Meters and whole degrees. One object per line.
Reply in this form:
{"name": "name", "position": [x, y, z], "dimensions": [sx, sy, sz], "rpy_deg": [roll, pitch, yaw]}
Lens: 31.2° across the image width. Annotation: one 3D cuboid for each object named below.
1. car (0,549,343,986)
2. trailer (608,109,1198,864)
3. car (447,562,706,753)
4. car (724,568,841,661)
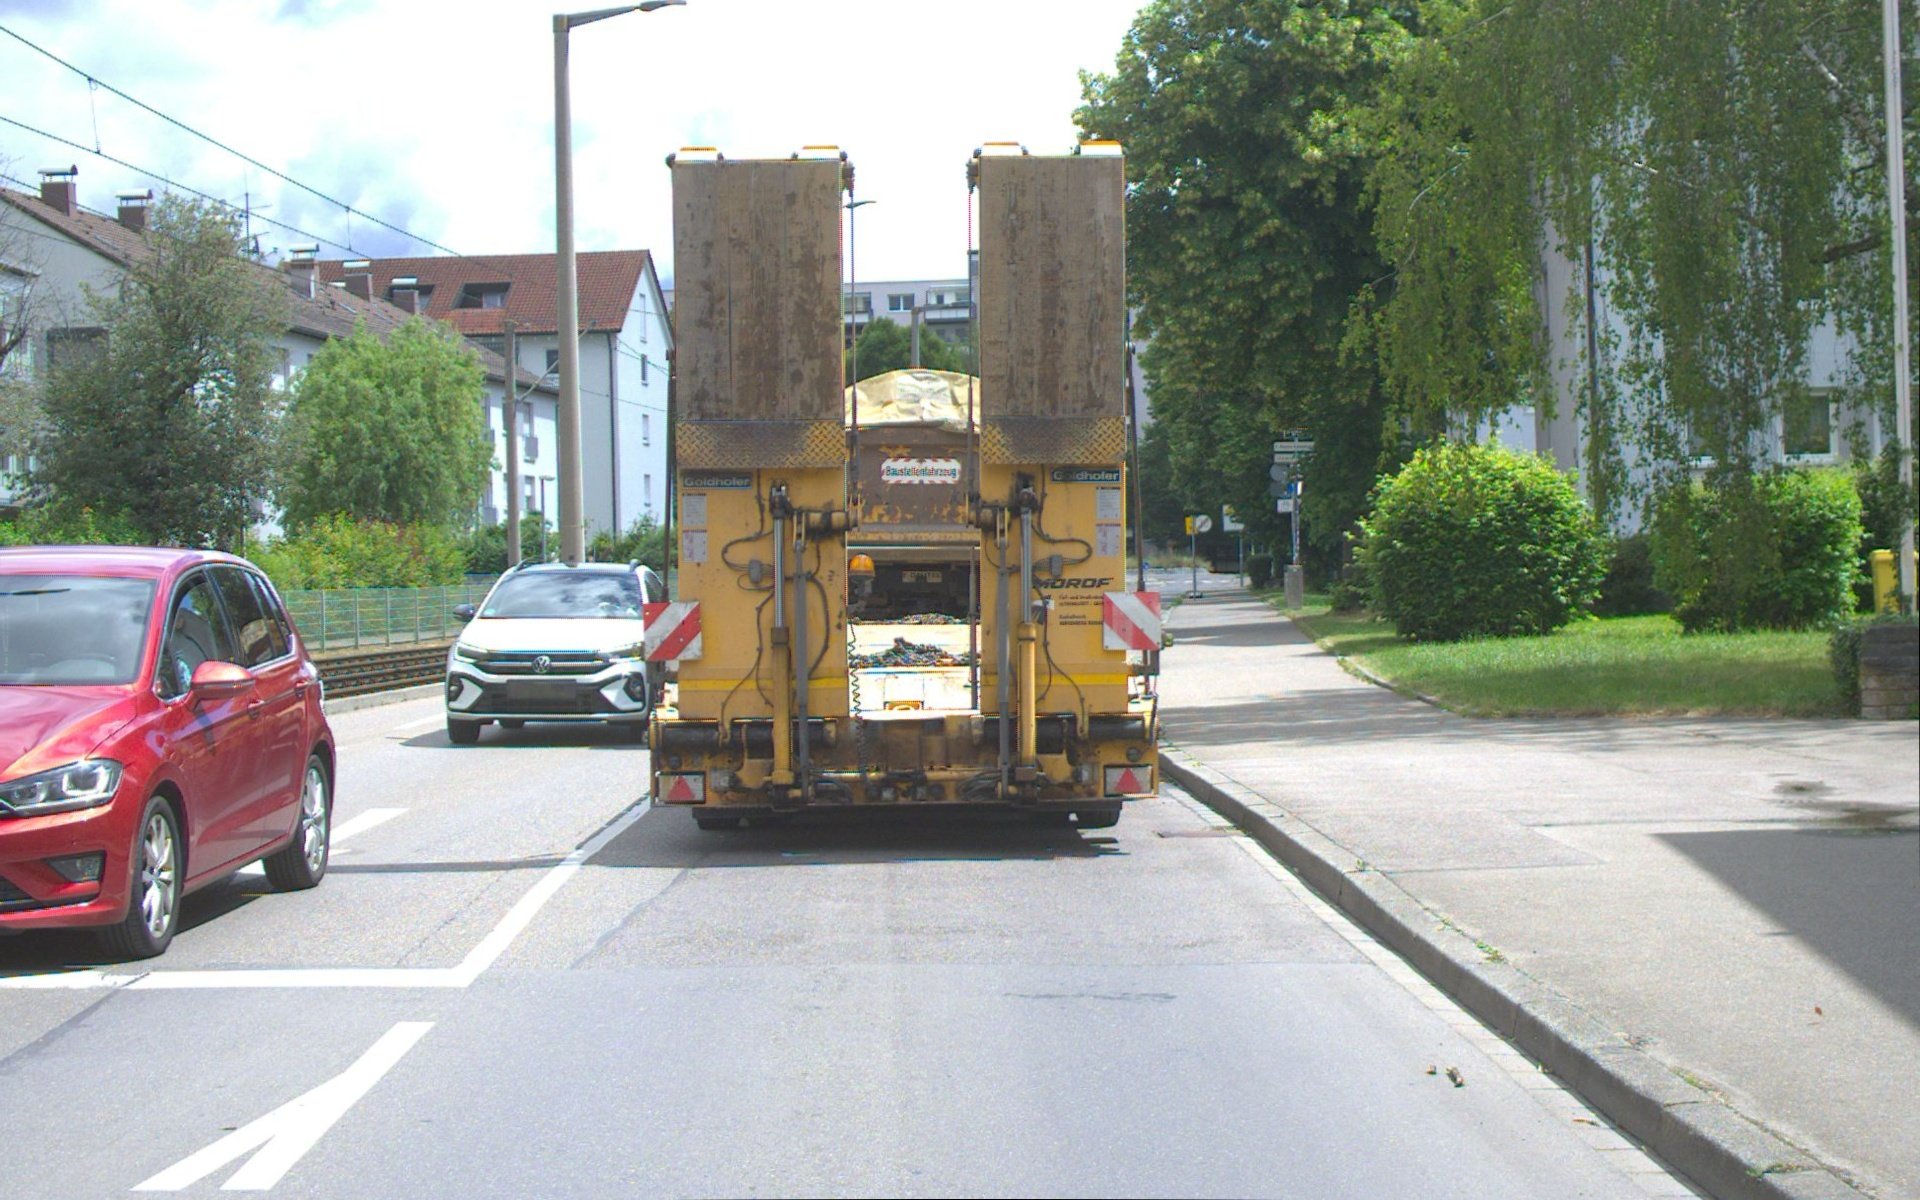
{"name": "car", "position": [-3.804, 0.569, 14.217], "dimensions": [1.663, 1.547, 4.000], "rpy_deg": [1, 0, 2]}
{"name": "trailer", "position": [-0.382, -0.606, 22.853], "dimensions": [2.827, 3.633, 12.354], "rpy_deg": [1, 1, -1]}
{"name": "car", "position": [-3.258, 0.451, 29.880], "dimensions": [1.760, 1.547, 4.000], "rpy_deg": [0, 0, 1]}
{"name": "car", "position": [-2.837, 0.214, 55.680], "dimensions": [1.628, 1.427, 4.167], "rpy_deg": [0, 1, 1]}
